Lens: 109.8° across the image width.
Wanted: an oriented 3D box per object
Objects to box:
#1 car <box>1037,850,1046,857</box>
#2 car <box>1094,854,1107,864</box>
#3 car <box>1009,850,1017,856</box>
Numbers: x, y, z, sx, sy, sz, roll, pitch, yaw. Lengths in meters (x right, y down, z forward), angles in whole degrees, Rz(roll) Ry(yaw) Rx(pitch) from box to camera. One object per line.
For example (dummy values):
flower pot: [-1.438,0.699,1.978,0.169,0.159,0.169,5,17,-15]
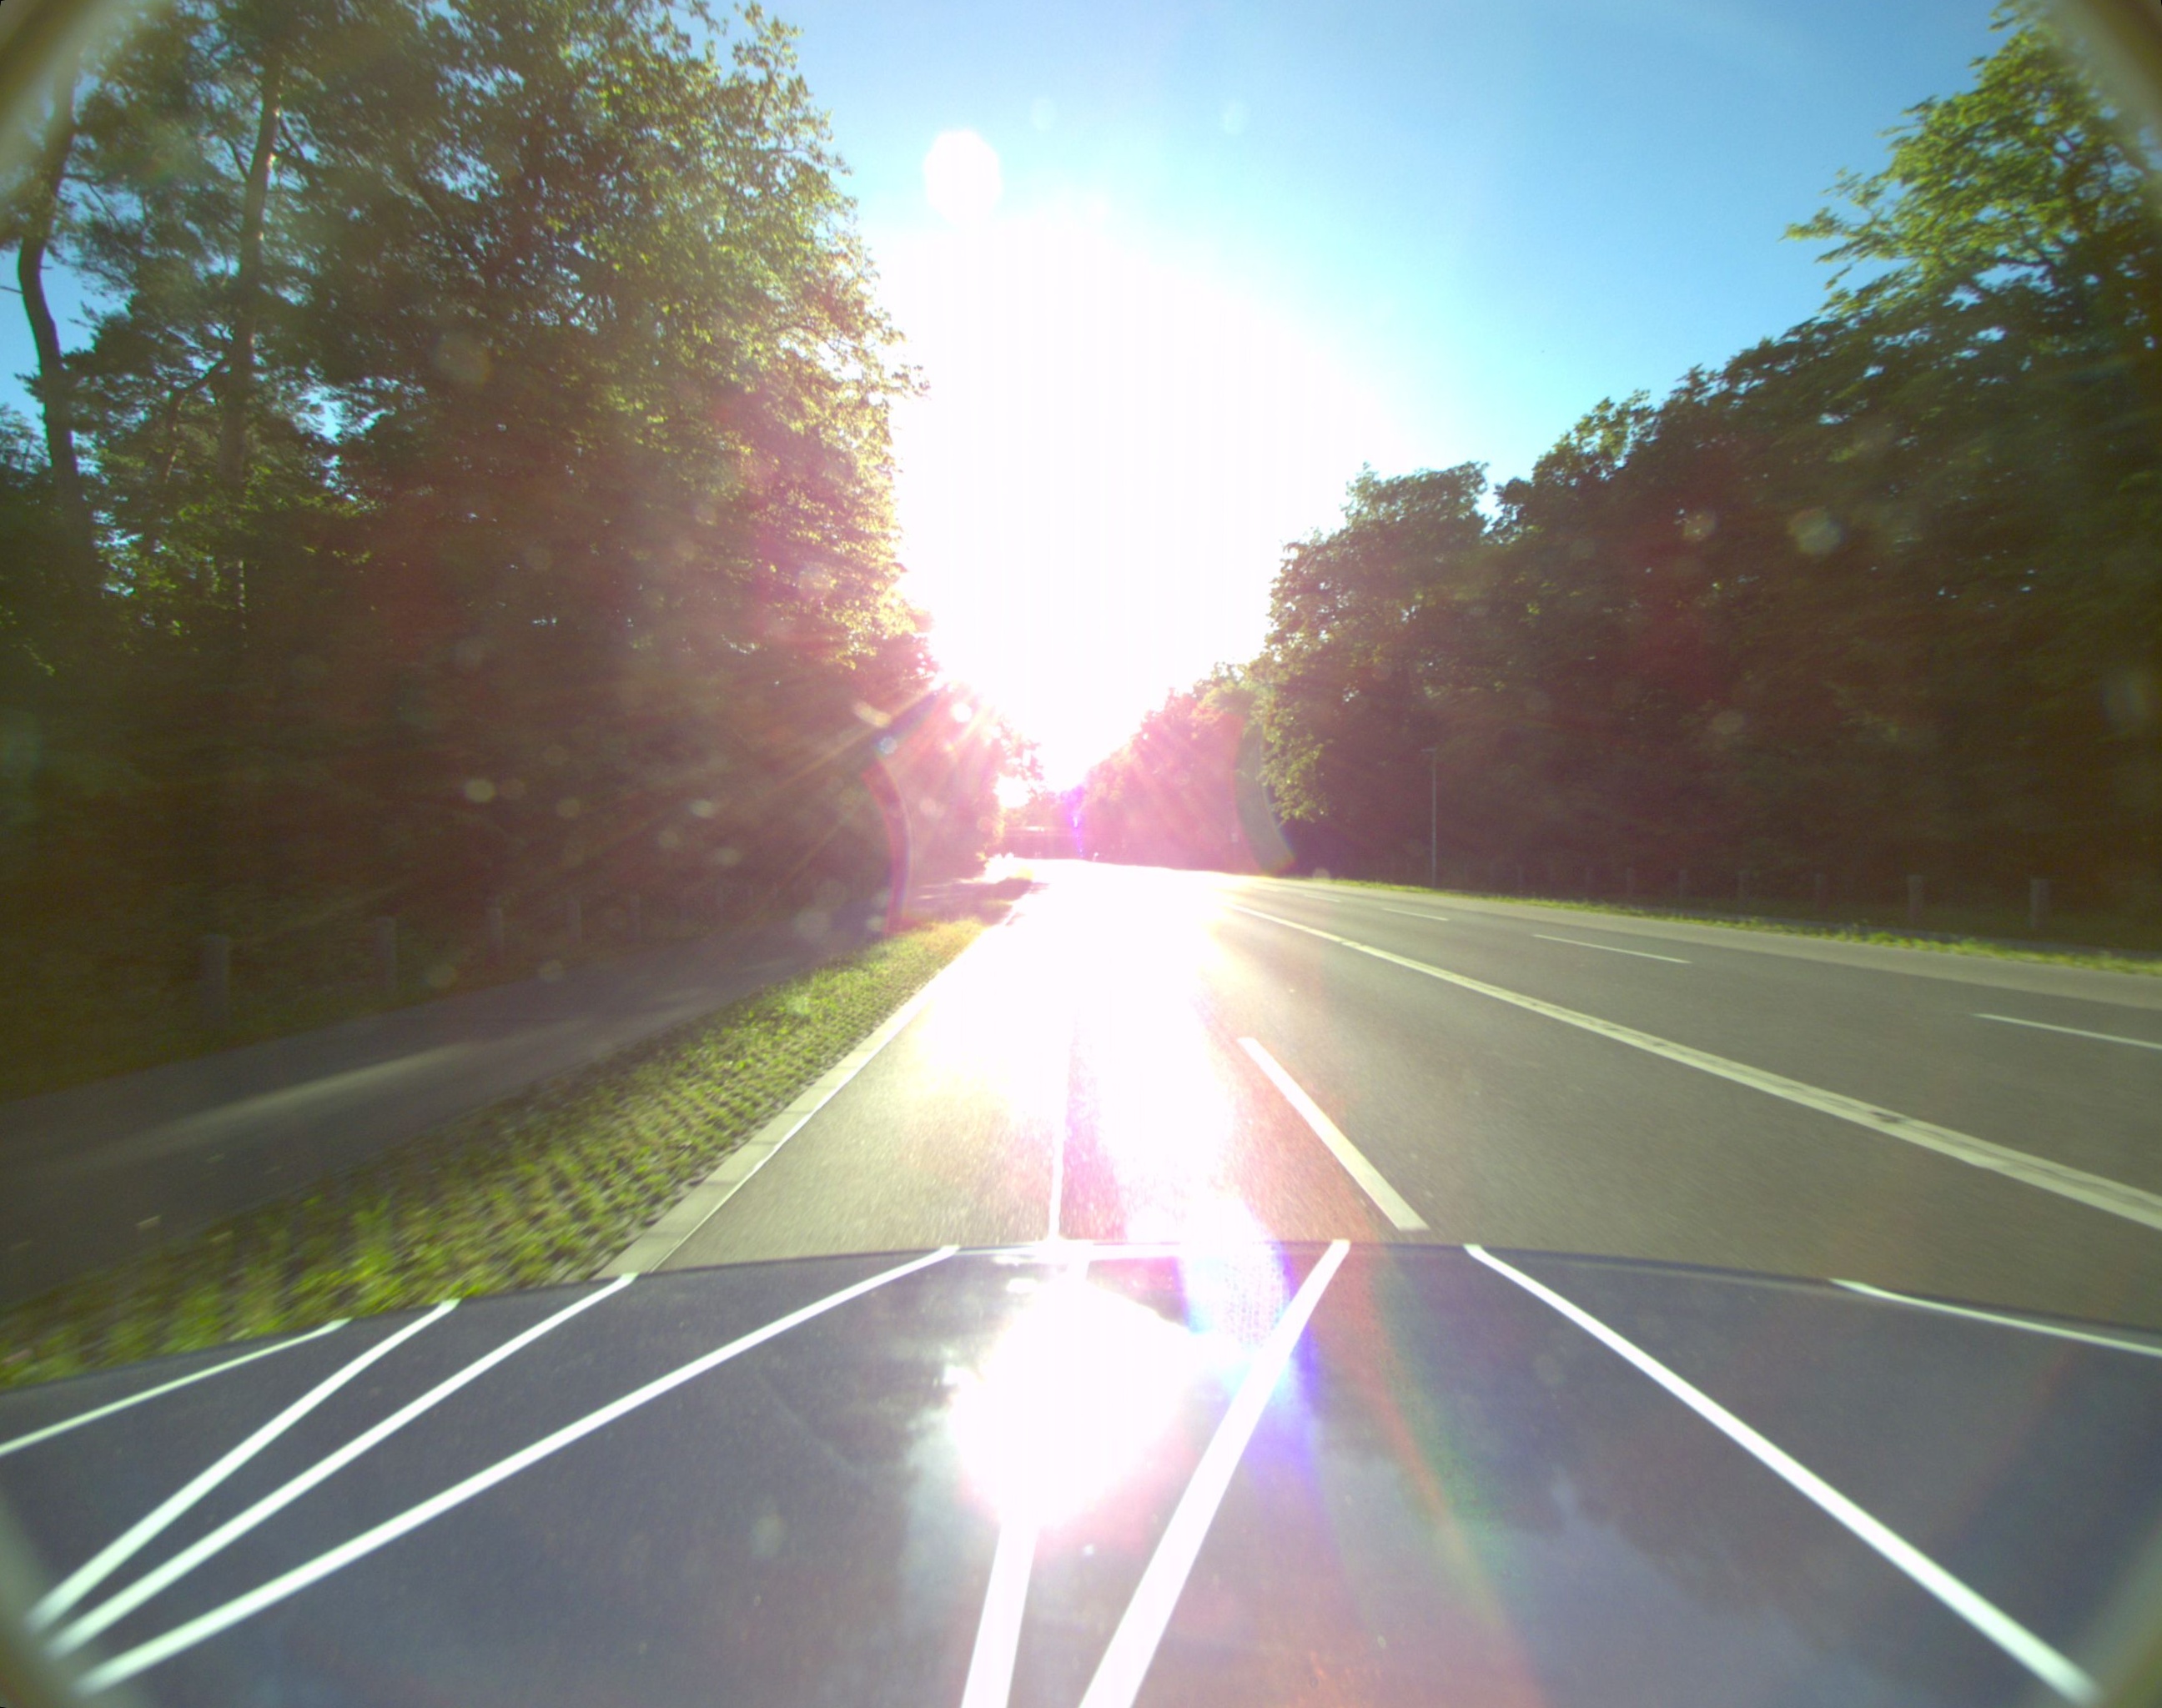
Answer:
car: [-11.331,-0.053,215.567,2.007,1.815,4.995,-3,1,-8]
car: [2.917,0.690,115.482,1.592,1.429,4.307,-3,0,-4]
car: [-20.987,-0.324,234.170,1.828,1.674,3.995,-1,0,-12]
